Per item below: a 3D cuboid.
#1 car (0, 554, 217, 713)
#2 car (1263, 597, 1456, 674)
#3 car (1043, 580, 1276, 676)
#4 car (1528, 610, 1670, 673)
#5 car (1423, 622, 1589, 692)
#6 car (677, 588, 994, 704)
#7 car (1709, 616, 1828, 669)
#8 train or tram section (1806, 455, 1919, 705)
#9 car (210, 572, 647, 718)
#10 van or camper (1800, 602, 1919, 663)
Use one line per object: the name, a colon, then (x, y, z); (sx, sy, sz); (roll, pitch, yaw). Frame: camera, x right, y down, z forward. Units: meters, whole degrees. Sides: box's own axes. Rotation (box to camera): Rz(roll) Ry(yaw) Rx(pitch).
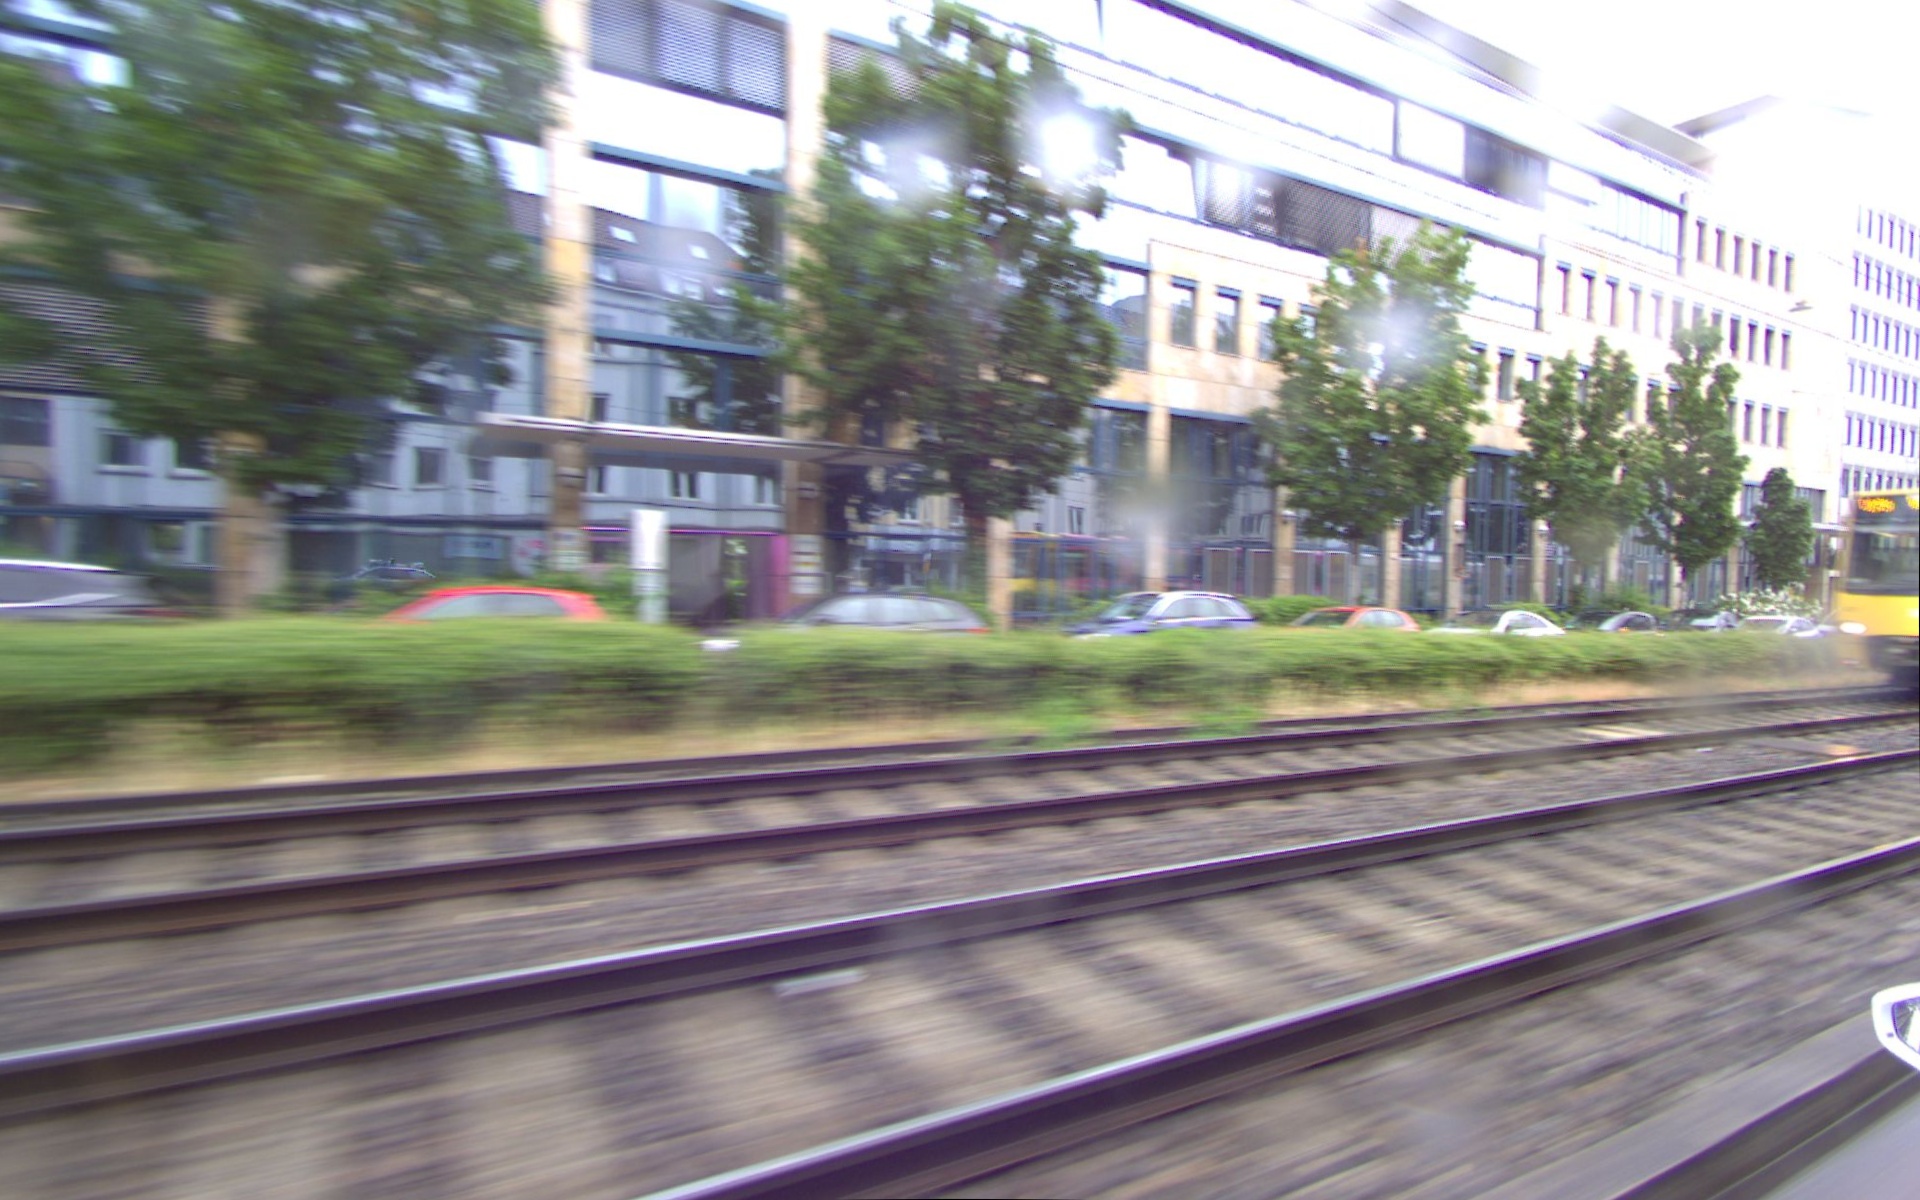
car: (-10.517, 0.306, 10.209); (4.567, 1.561, 1.641); (1, 0, -31)
car: (8.708, 0.736, 21.829); (4.242, 1.518, 1.641); (1, 0, -31)
car: (3.759, 0.501, 18.699); (4.242, 1.623, 1.641); (1, 0, -31)
car: (17.206, 1.071, 27.023); (3.956, 1.506, 1.679); (0, 2, -32)
car: (13.296, 1.333, 24.416); (4.143, 1.518, 1.641); (1, 0, -31)
car: (-1.842, 0.649, 15.415); (4.567, 1.561, 1.641); (1, 0, -31)
car: (25.896, 1.298, 32.144); (4.208, 1.506, 1.679); (0, 2, -32)
train or tram section: (23.506, -0.105, 21.227); (18.201, 4.104, 2.887); (2, 0, -31)
car: (-6.449, 0.513, 12.619); (4.567, 1.561, 1.641); (1, 0, -31)
van or camper: (32.670, 1.170, 36.225); (5.137, 2.024, 2.007); (2, 1, -31)
